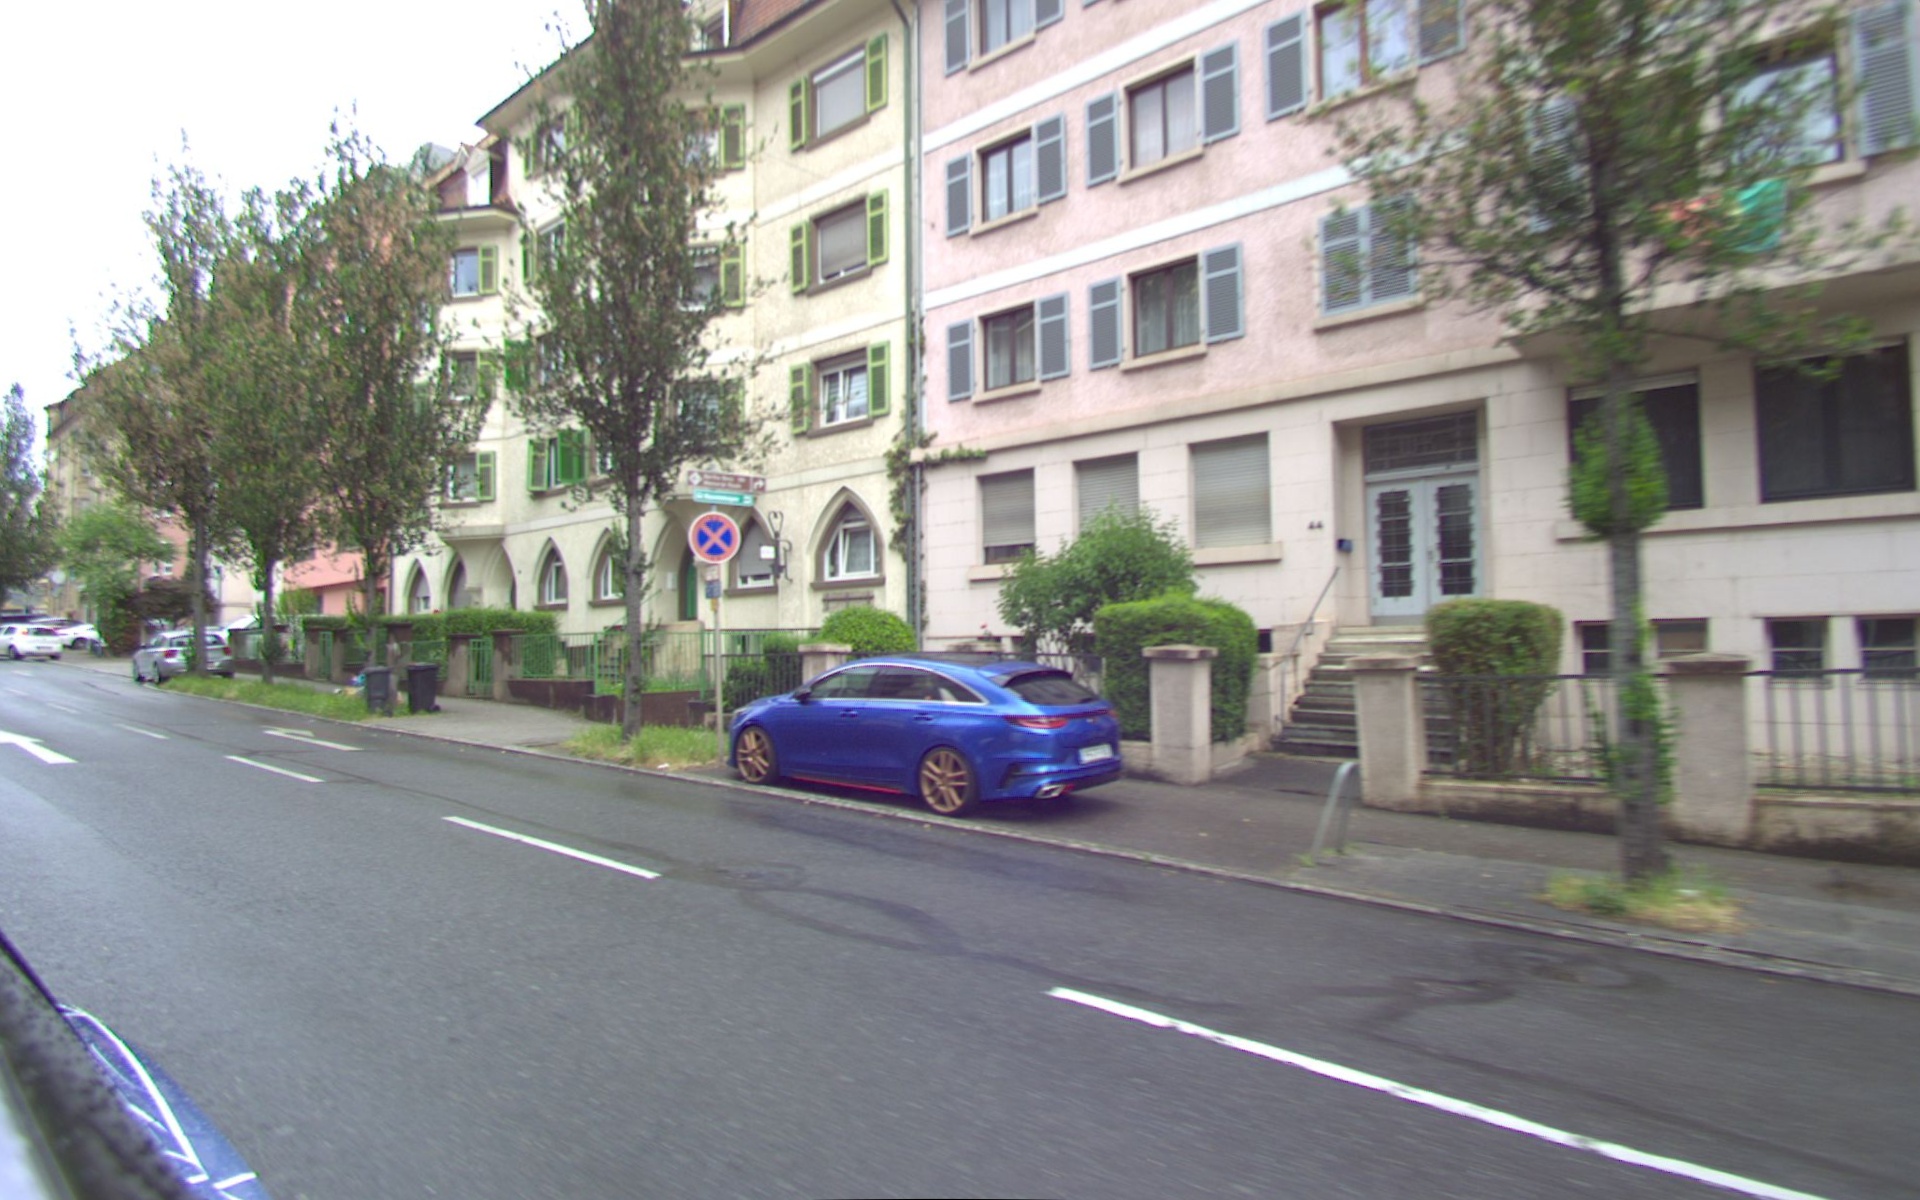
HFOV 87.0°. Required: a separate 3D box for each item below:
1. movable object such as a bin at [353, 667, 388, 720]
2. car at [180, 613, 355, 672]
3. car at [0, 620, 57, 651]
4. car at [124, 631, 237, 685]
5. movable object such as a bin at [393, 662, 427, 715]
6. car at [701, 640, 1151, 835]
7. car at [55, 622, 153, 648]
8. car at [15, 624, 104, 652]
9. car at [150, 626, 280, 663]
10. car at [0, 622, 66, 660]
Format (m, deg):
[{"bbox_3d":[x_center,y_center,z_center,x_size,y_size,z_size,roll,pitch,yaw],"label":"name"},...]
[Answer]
[{"bbox_3d":[-10.395,1.642,17.843,0.572,0.896,0.360,-1,-1,39],"label":"movable object such as a bin"},{"bbox_3d":[-24.085,1.424,35.349,1.916,1.919,4.674,0,-1,38],"label":"car"},{"bbox_3d":[-58.674,2.183,62.609,1.864,1.861,3.882,0,-3,37],"label":"car"},{"bbox_3d":[-22.271,1.622,28.875,4.134,1.428,1.664,-1,-3,40],"label":"car"},{"bbox_3d":[-10.106,1.613,18.603,0.572,0.918,0.360,0,0,39],"label":"movable object such as a bin"},{"bbox_3d":[-0.523,1.177,10.155,4.599,1.396,1.662,0,-1,40],"label":"car"},{"bbox_3d":[-47.242,1.949,55.916,1.645,1.307,3.879,0,-3,40],"label":"car"},{"bbox_3d":[-55.798,2.375,62.761,1.591,1.634,3.879,0,-3,40],"label":"car"},{"bbox_3d":[-30.315,1.835,41.265,1.721,1.408,3.887,0,-3,33],"label":"car"},{"bbox_3d":[-39.297,1.676,42.118,3.627,1.483,1.659,0,-1,21],"label":"car"}]
